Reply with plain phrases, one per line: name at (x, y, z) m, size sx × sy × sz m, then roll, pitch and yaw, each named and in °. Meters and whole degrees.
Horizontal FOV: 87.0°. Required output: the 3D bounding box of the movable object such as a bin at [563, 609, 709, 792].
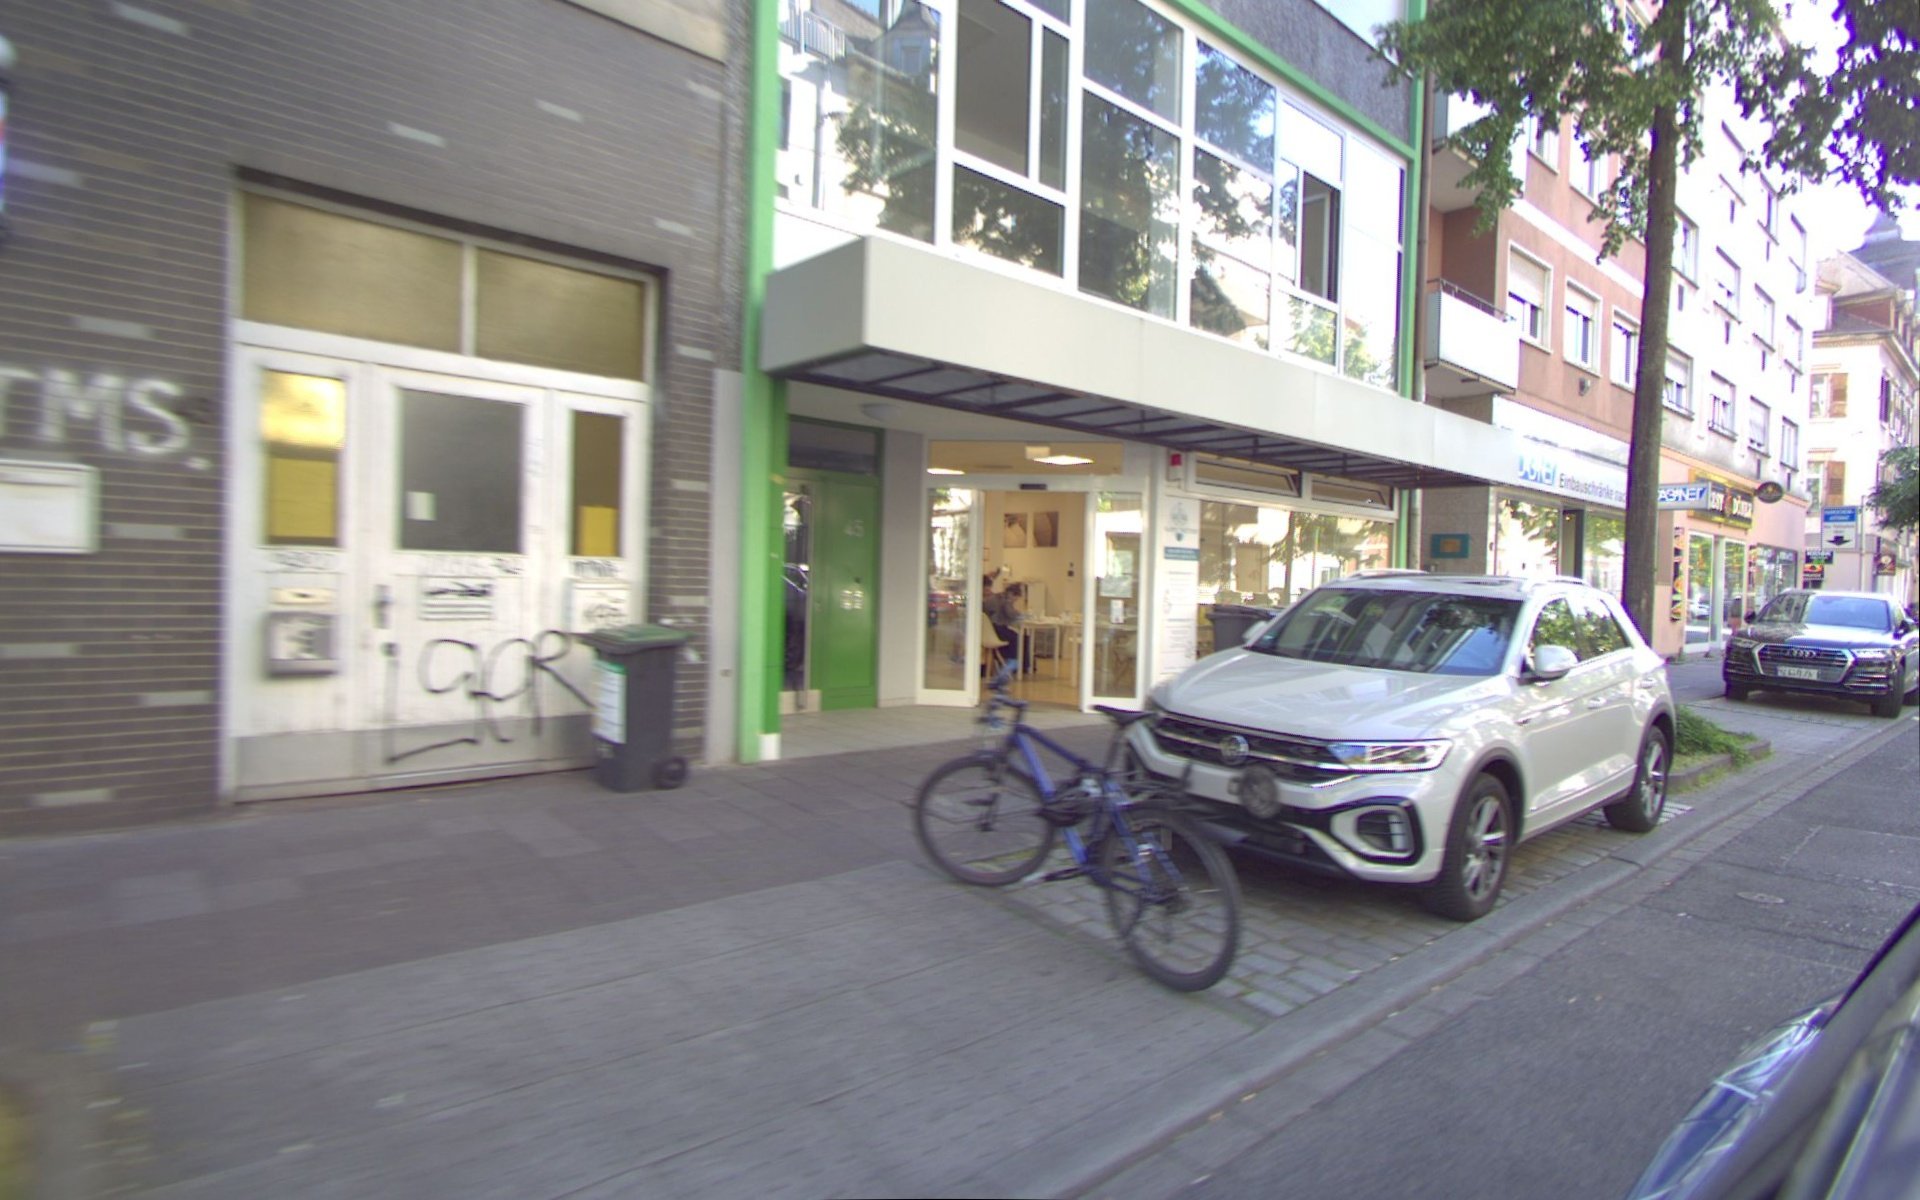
movable object such as a bin at (-1.890, 0.549, 5.898) m, size 0.643 × 0.968 × 0.524 m, roll 1°, pitch 2°, yaw -40°

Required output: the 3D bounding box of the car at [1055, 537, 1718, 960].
car at (2.698, 0.533, 5.903) m, size 4.160 × 1.545 × 1.887 m, roll 1°, pitch 4°, yaw -42°

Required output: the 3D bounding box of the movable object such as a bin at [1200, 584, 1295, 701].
movable object such as a bin at (2.833, 0.399, 9.978) m, size 0.643 × 1.077 × 0.615 m, roll 1°, pitch 2°, yaw -40°

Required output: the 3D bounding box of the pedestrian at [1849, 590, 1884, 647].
pedestrian at (27.842, 0.561, 31.089) m, size 0.735 × 1.665 × 0.643 m, roll 1°, pitch 3°, yaw -42°

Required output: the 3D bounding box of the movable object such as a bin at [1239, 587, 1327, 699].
movable object such as a bin at (3.314, 0.422, 10.388) m, size 0.579 × 1.077 × 0.615 m, roll 1°, pitch 2°, yaw -40°

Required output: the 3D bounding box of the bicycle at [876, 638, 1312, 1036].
bicycle at (0.433, 0.777, 3.967) m, size 0.601 × 1.024 × 1.626 m, roll 1°, pitch 6°, yaw -42°

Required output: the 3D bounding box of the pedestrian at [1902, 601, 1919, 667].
pedestrian at (20.306, 0.717, 21.415) m, size 0.584 × 1.379 × 0.473 m, roll 1°, pitch 0°, yaw -40°

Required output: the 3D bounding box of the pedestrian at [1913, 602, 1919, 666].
pedestrian at (21.115, 0.738, 21.970) m, size 0.584 × 1.396 × 0.553 m, roll 1°, pitch 0°, yaw -40°

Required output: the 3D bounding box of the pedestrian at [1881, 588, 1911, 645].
pedestrian at (28.284, 0.492, 30.577) m, size 0.735 × 1.665 × 0.514 m, roll 1°, pitch 3°, yaw -42°

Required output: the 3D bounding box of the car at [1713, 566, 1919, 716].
car at (12.746, 0.498, 14.643) m, size 4.438 × 1.709 × 1.998 m, roll 1°, pitch 5°, yaw -42°
